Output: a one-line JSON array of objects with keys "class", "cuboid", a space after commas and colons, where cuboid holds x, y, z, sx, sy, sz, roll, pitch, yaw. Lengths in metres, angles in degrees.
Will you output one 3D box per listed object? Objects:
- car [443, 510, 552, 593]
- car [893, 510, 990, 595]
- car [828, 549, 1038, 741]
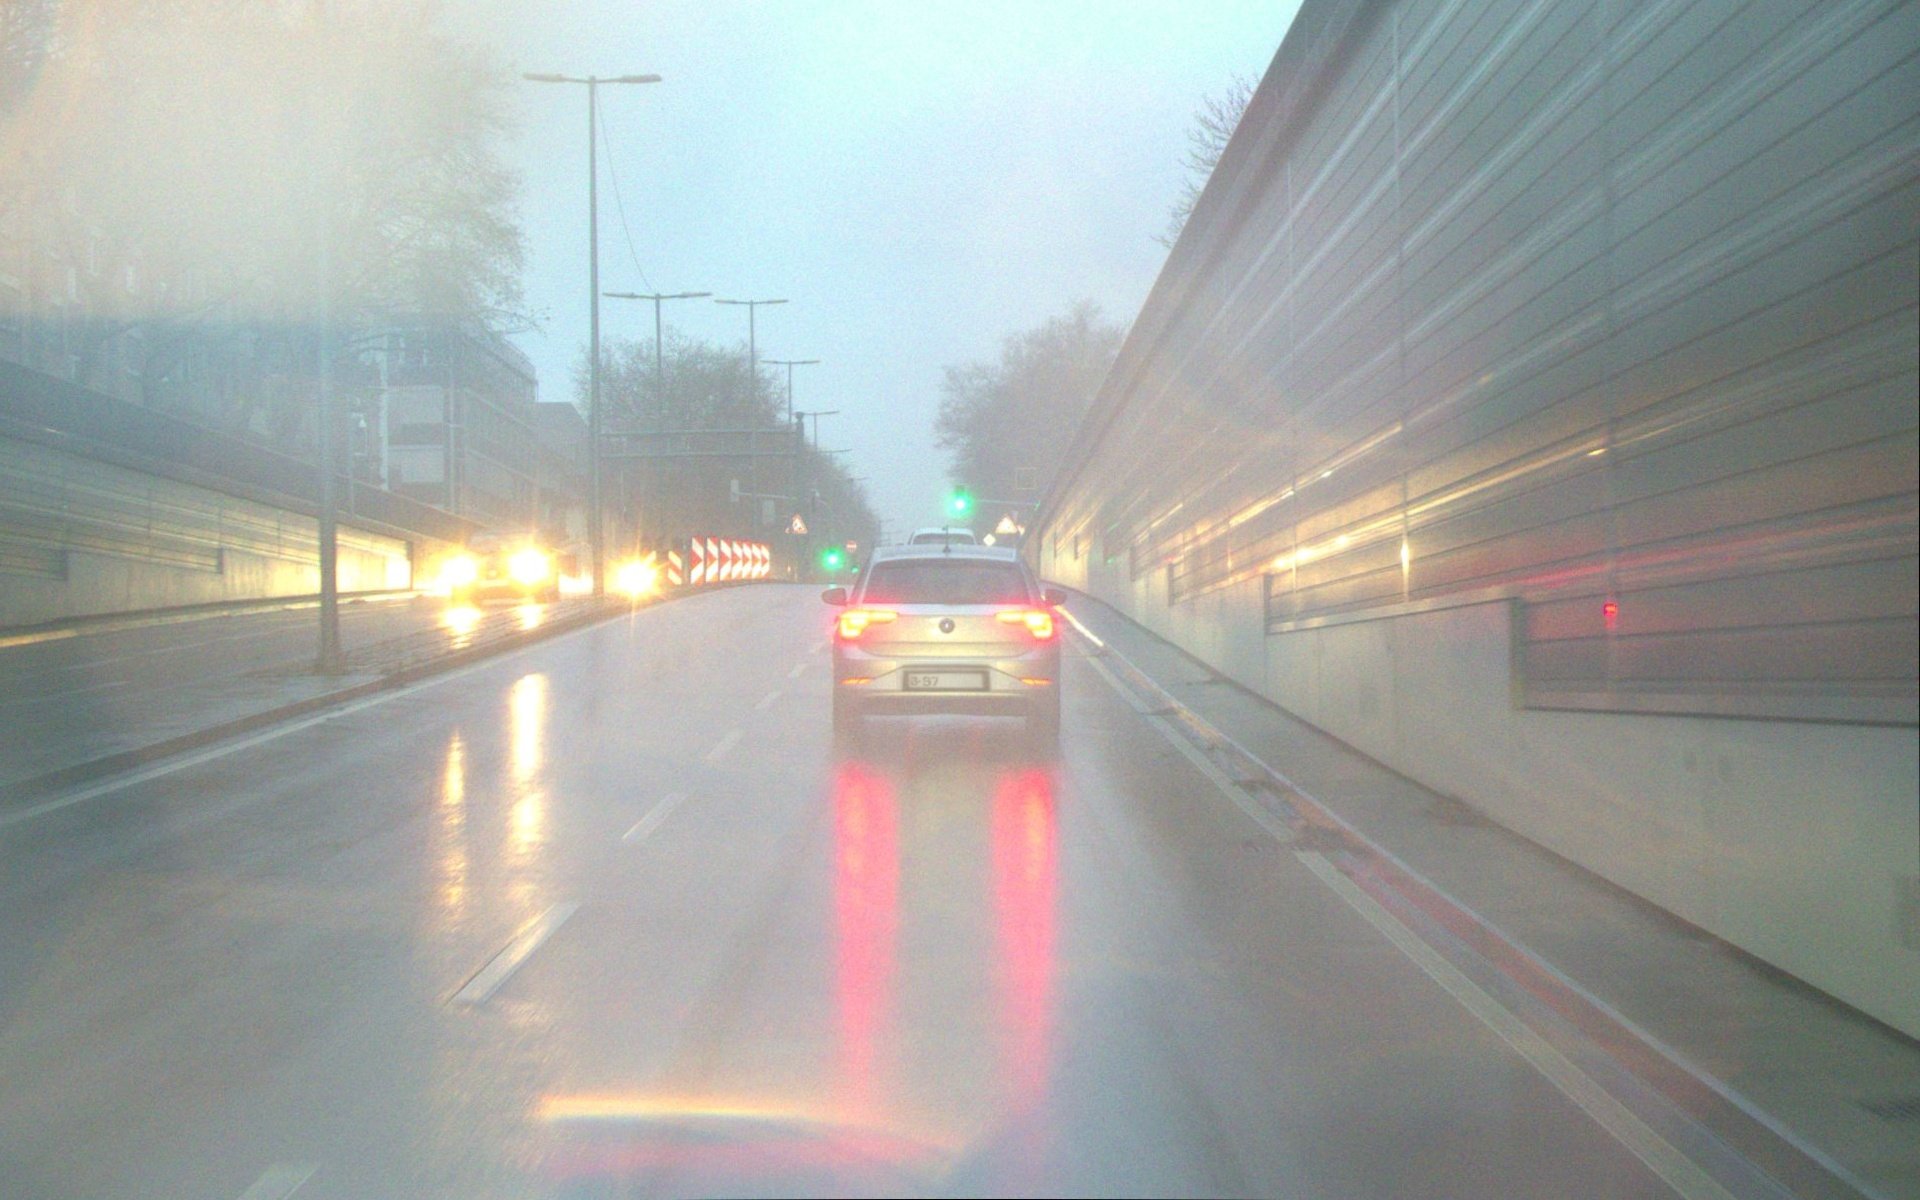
[{"class": "car", "cuboid": [-8.752, -0.942, 65.292, 1.571, 1.465, 3.687, -1, 2, -1]}, {"class": "car", "cuboid": [-0.405, -0.962, 71.659, 1.880, 1.615, 4.000, 0, -1, -2]}, {"class": "car", "cuboid": [-0.203, 0.340, 26.878, 1.532, 1.392, 3.434, 0, 0, 0]}]
